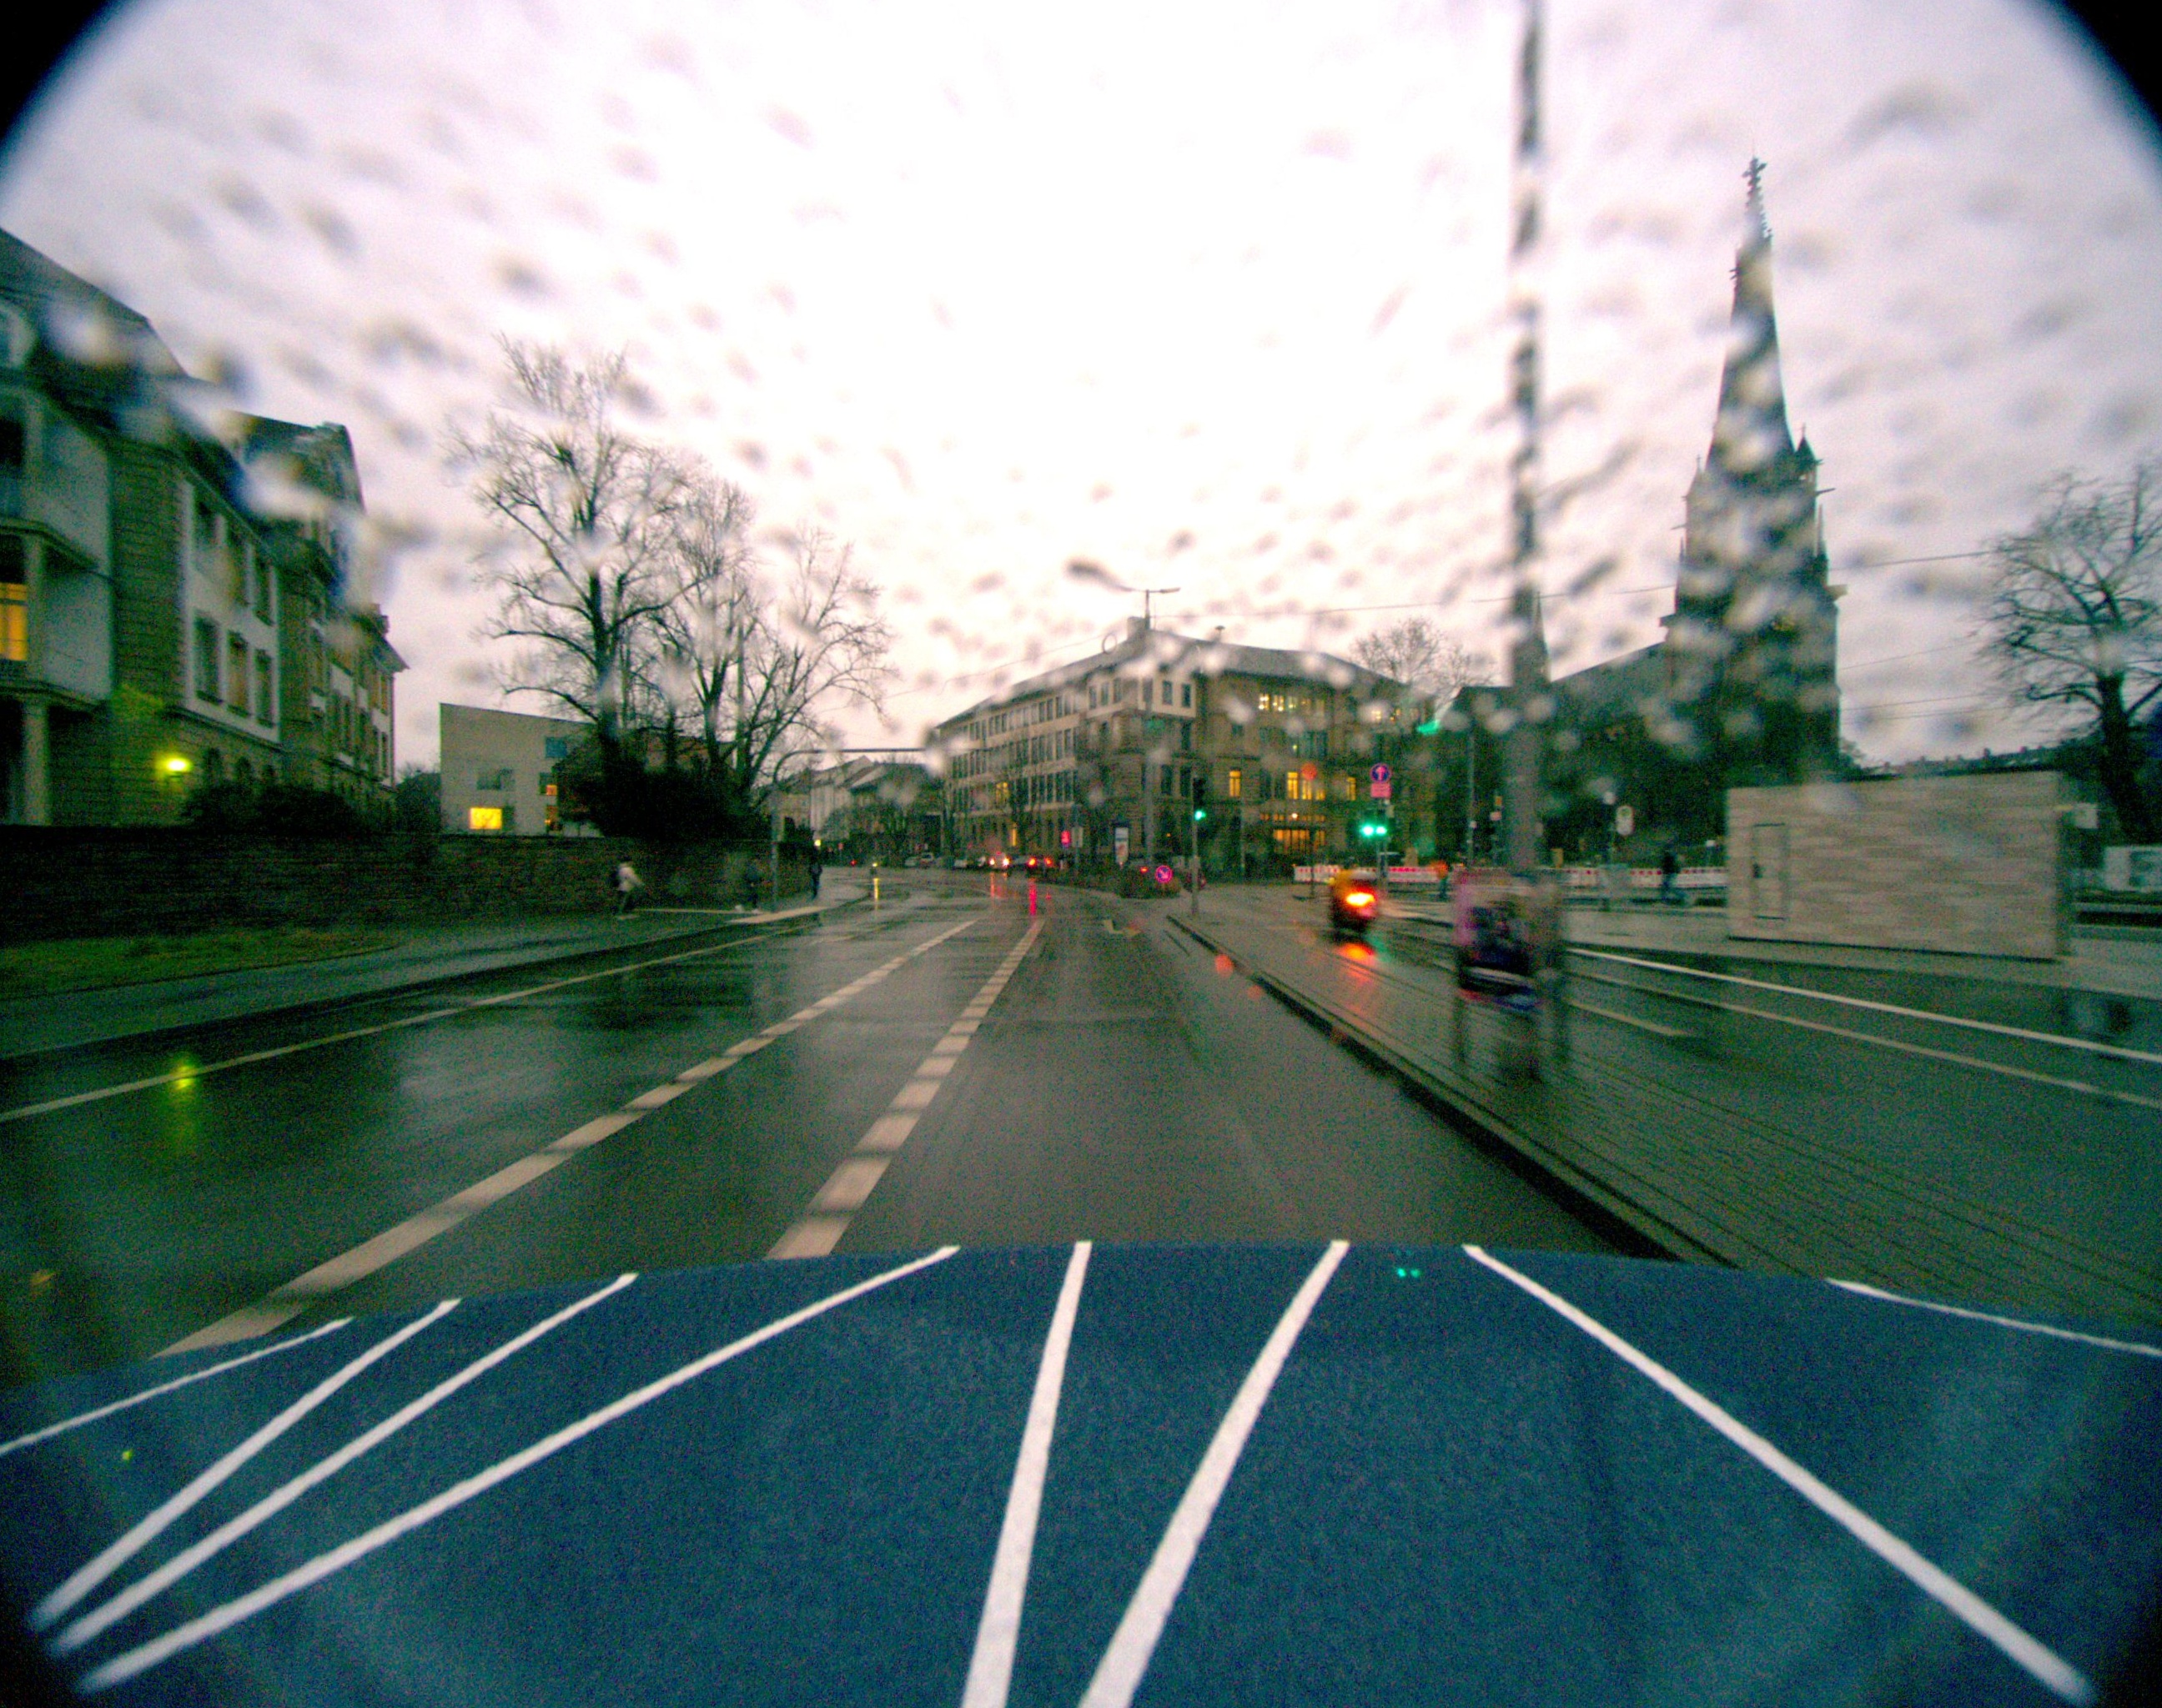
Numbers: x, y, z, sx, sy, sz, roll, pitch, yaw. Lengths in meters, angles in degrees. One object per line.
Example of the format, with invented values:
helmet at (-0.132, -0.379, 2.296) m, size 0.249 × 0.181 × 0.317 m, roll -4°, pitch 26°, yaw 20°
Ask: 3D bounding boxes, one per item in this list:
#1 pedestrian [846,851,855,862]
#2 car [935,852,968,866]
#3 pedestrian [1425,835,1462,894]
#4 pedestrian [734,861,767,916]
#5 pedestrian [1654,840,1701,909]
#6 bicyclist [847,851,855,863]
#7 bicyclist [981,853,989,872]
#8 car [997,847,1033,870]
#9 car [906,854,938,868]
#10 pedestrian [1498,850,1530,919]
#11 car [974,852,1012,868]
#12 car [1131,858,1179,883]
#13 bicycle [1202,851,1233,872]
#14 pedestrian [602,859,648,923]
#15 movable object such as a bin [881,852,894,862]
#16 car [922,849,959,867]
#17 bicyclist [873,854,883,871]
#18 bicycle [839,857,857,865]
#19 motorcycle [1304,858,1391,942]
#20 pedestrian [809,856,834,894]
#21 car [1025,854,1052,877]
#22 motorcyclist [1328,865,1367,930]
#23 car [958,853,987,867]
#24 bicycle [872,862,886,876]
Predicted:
pedestrian at (-35.583, 0.363, 117.146) m, size 0.945 × 1.694 × 0.925 m, roll 0°, pitch 3°, yaw 33°
car at (-15.620, 0.611, 91.703) m, size 1.819 × 1.531 × 3.983 m, roll -1°, pitch 2°, yaw 28°
pedestrian at (15.033, 0.427, 31.536) m, size 0.996 × 2.357 × 1.063 m, roll -2°, pitch 2°, yaw -4°
pedestrian at (-10.245, 1.051, 23.587) m, size 0.792 × 1.665 × 0.729 m, roll 1°, pitch 1°, yaw -13°
pedestrian at (16.201, 0.531, 20.646) m, size 0.606 × 1.803 × 0.823 m, roll -3°, pitch 3°, yaw -31°
bicyclist at (-31.891, 0.416, 105.501) m, size 0.858 × 1.586 × 0.779 m, roll -2°, pitch 2°, yaw -30°
bicyclist at (-9.203, 0.796, 72.802) m, size 0.611 × 1.758 × 0.589 m, roll -1°, pitch 3°, yaw 10°
car at (-6.755, 0.435, 78.256) m, size 1.908 × 2.022 × 4.809 m, roll -1°, pitch 2°, yaw 19°
car at (-20.765, 0.853, 99.185) m, size 1.771 × 1.582 × 4.191 m, roll -1°, pitch 2°, yaw 27°
pedestrian at (10.913, 0.760, 19.152) m, size 0.673 × 1.665 × 0.731 m, roll 0°, pitch 3°, yaw 32°
car at (-9.699, 0.644, 83.678) m, size 1.795 × 1.449 × 4.484 m, roll 0°, pitch 2°, yaw 30°
car at (4.387, 0.966, 45.543) m, size 1.753 × 1.370 × 4.362 m, roll 1°, pitch 0°, yaw -10°
bicycle at (11.290, 0.652, 62.962) m, size 2.424 × 1.679 × 0.714 m, roll -1°, pitch 3°, yaw 17°
pedestrian at (-12.274, 0.983, 20.446) m, size 0.964 × 1.665 × 0.777 m, roll 1°, pitch 1°, yaw -38°
movable object such as a bin at (-27.646, 0.452, 108.568) m, size 1.341 × 1.456 × 0.987 m, roll -1°, pitch 2°, yaw 18°
car at (-17.377, 0.441, 94.361) m, size 1.961 × 2.042 × 4.629 m, roll 0°, pitch 2°, yaw 29°
bicyclist at (-16.494, 0.701, 61.647) m, size 0.718 × 1.335 × 0.718 m, roll -3°, pitch 3°, yaw -18°
bicycle at (-32.279, 0.972, 105.374) m, size 2.125 × 0.939 × 0.942 m, roll -3°, pitch 3°, yaw -30°
motorcycle at (5.160, 0.837, 14.899) m, size 0.831 × 1.488 × 2.314 m, roll 0°, pitch 0°, yaw -1°
pedestrian at (-11.577, 0.920, 33.934) m, size 0.807 × 1.675 × 1.156 m, roll 1°, pitch 0°, yaw -7°
car at (-3.331, 0.869, 59.373) m, size 1.760 × 1.652 × 4.527 m, roll 1°, pitch 0°, yaw -8°
motorcyclist at (5.153, 0.826, 14.712) m, size 0.537 × 1.187 × 0.611 m, roll -2°, pitch 2°, yaw 1°
car at (-12.493, 0.707, 87.754) m, size 1.633 × 1.449 × 3.831 m, roll -1°, pitch 2°, yaw 22°
bicycle at (-16.446, 1.207, 61.739) m, size 0.725 × 1.084 × 2.281 m, roll -2°, pitch 0°, yaw -23°
